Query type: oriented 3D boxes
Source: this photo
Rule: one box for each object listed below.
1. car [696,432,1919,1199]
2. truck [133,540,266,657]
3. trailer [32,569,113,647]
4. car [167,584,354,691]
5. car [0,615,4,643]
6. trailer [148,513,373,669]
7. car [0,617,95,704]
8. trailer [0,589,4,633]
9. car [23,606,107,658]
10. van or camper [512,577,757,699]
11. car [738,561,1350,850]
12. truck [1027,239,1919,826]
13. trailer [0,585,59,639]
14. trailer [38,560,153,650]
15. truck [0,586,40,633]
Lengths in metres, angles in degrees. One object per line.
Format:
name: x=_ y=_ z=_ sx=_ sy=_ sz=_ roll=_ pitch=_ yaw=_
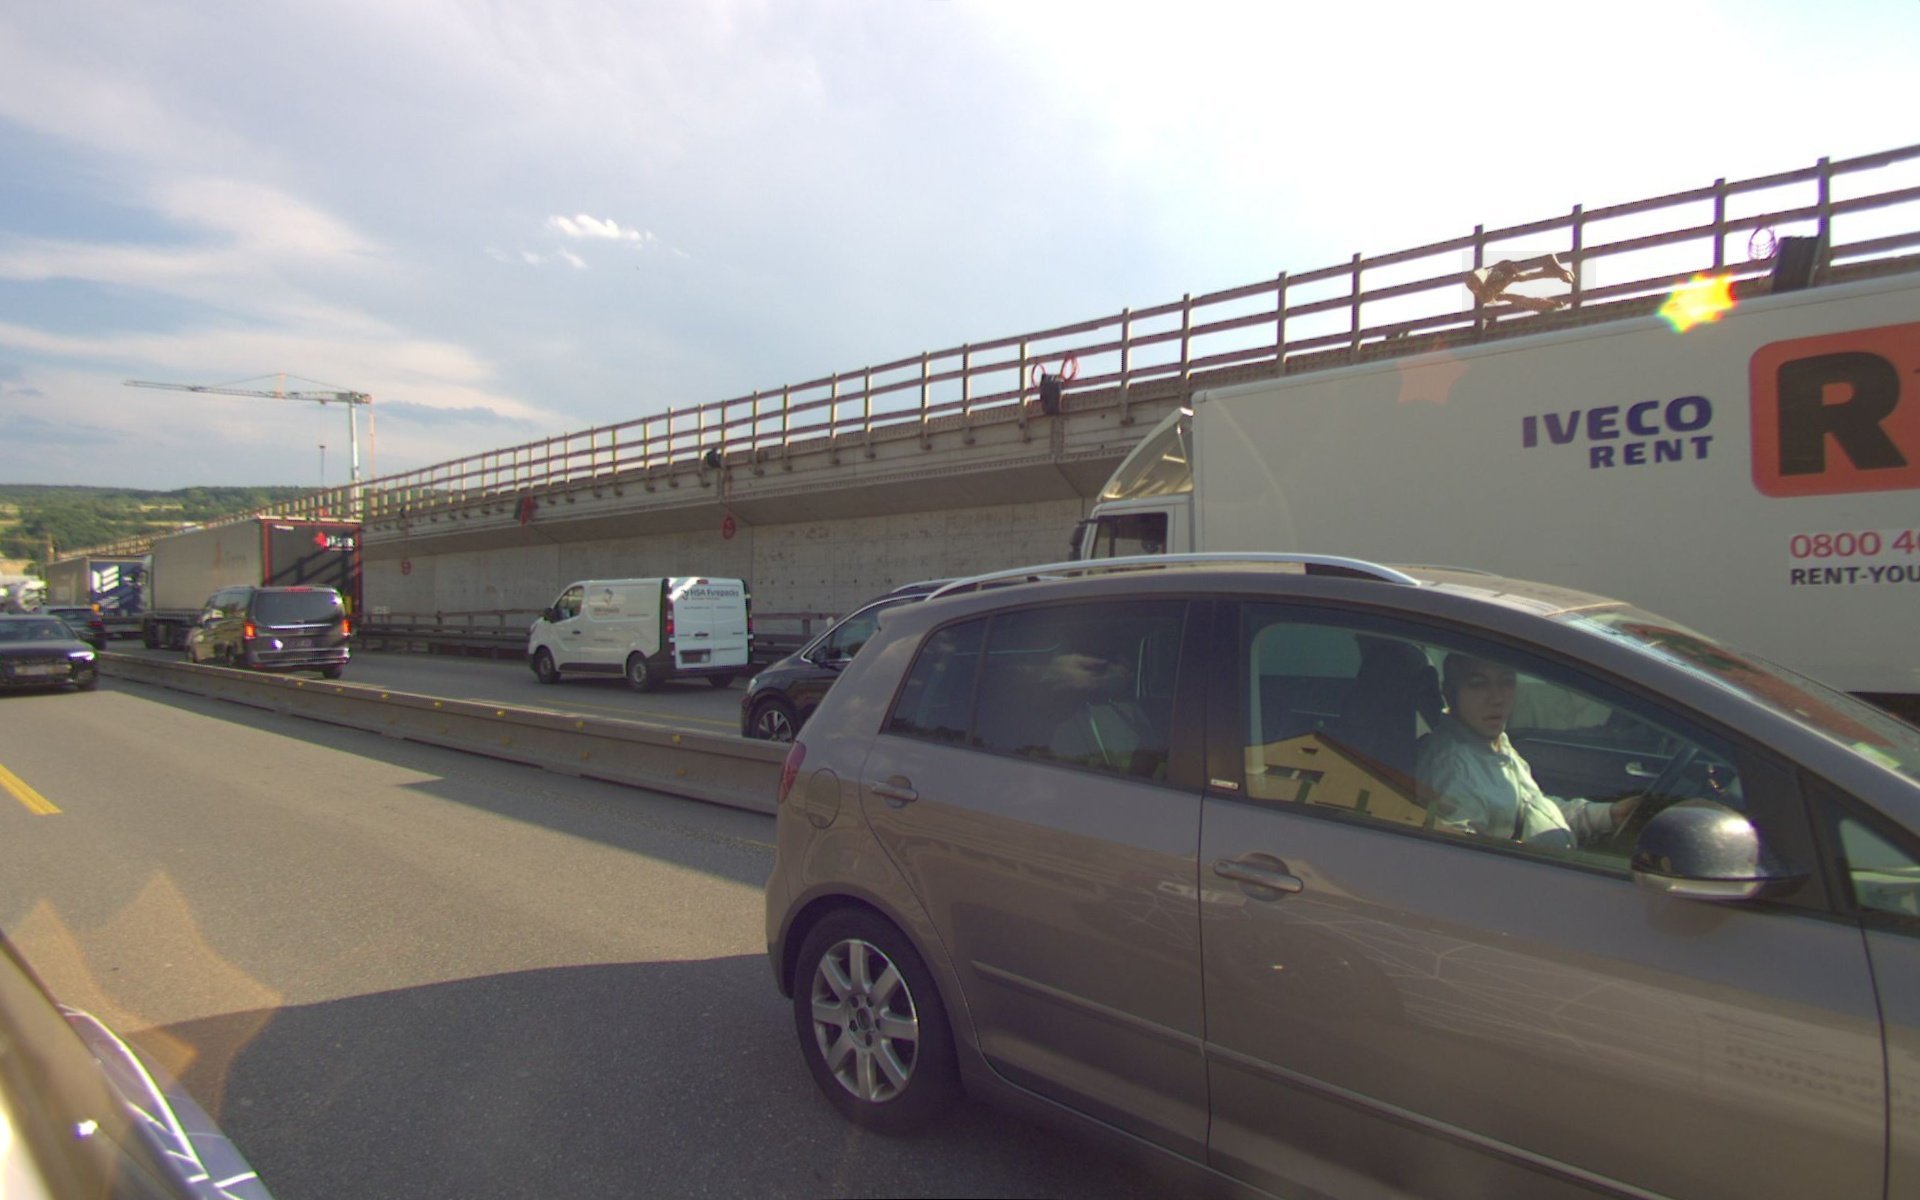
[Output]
car: x=1.305 y=0.617 z=2.423 sx=4.270 sy=1.600 sz=1.663 roll=-2 pitch=-3 yaw=41
truck: x=-28.487 y=-0.087 z=37.840 sx=5.655 sy=4.038 sz=2.831 roll=0 pitch=1 yaw=41
trailer: x=-50.203 y=0.467 z=57.200 sx=5.975 sy=4.172 sz=2.735 roll=-2 pitch=0 yaw=42
car: x=-14.804 y=0.721 z=21.280 sx=5.288 sy=1.937 sz=1.965 roll=-1 pitch=1 yaw=41
car: x=-53.101 y=1.543 z=54.734 sx=4.594 sy=1.470 sz=1.623 roll=0 pitch=1 yaw=41
trailer: x=-23.495 y=-0.276 z=33.439 sx=13.764 sy=4.271 sz=2.883 roll=0 pitch=1 yaw=42
car: x=-17.790 y=1.068 z=18.964 sx=4.347 sy=1.430 sz=1.848 roll=0 pitch=0 yaw=42
trailer: x=-95.746 y=1.065 z=98.441 sx=15.760 sy=4.061 sz=2.742 roll=0 pitch=1 yaw=42
car: x=-34.168 y=1.164 z=38.584 sx=5.139 sy=1.785 sz=1.803 roll=0 pitch=1 yaw=42
van or camper: x=-6.029 y=0.617 z=18.425 sx=4.919 sy=1.937 sz=1.898 roll=-1 pitch=0 yaw=40
car: x=0.412 y=0.590 z=8.038 sx=4.687 sy=1.657 sz=1.813 roll=0 pitch=1 yaw=41
truck: x=4.646 y=-0.355 z=8.541 sx=8.136 sy=3.450 sz=2.687 roll=0 pitch=-2 yaw=41
trailer: x=-66.329 y=0.786 z=71.669 sx=10.679 sy=3.553 sz=2.530 roll=0 pitch=1 yaw=42
trailer: x=-45.224 y=0.374 z=52.714 sx=14.021 sy=4.172 sz=2.735 roll=-2 pitch=0 yaw=42
truck: x=-71.215 y=0.684 z=75.956 sx=5.529 sy=3.435 sz=2.522 roll=0 pitch=1 yaw=41
